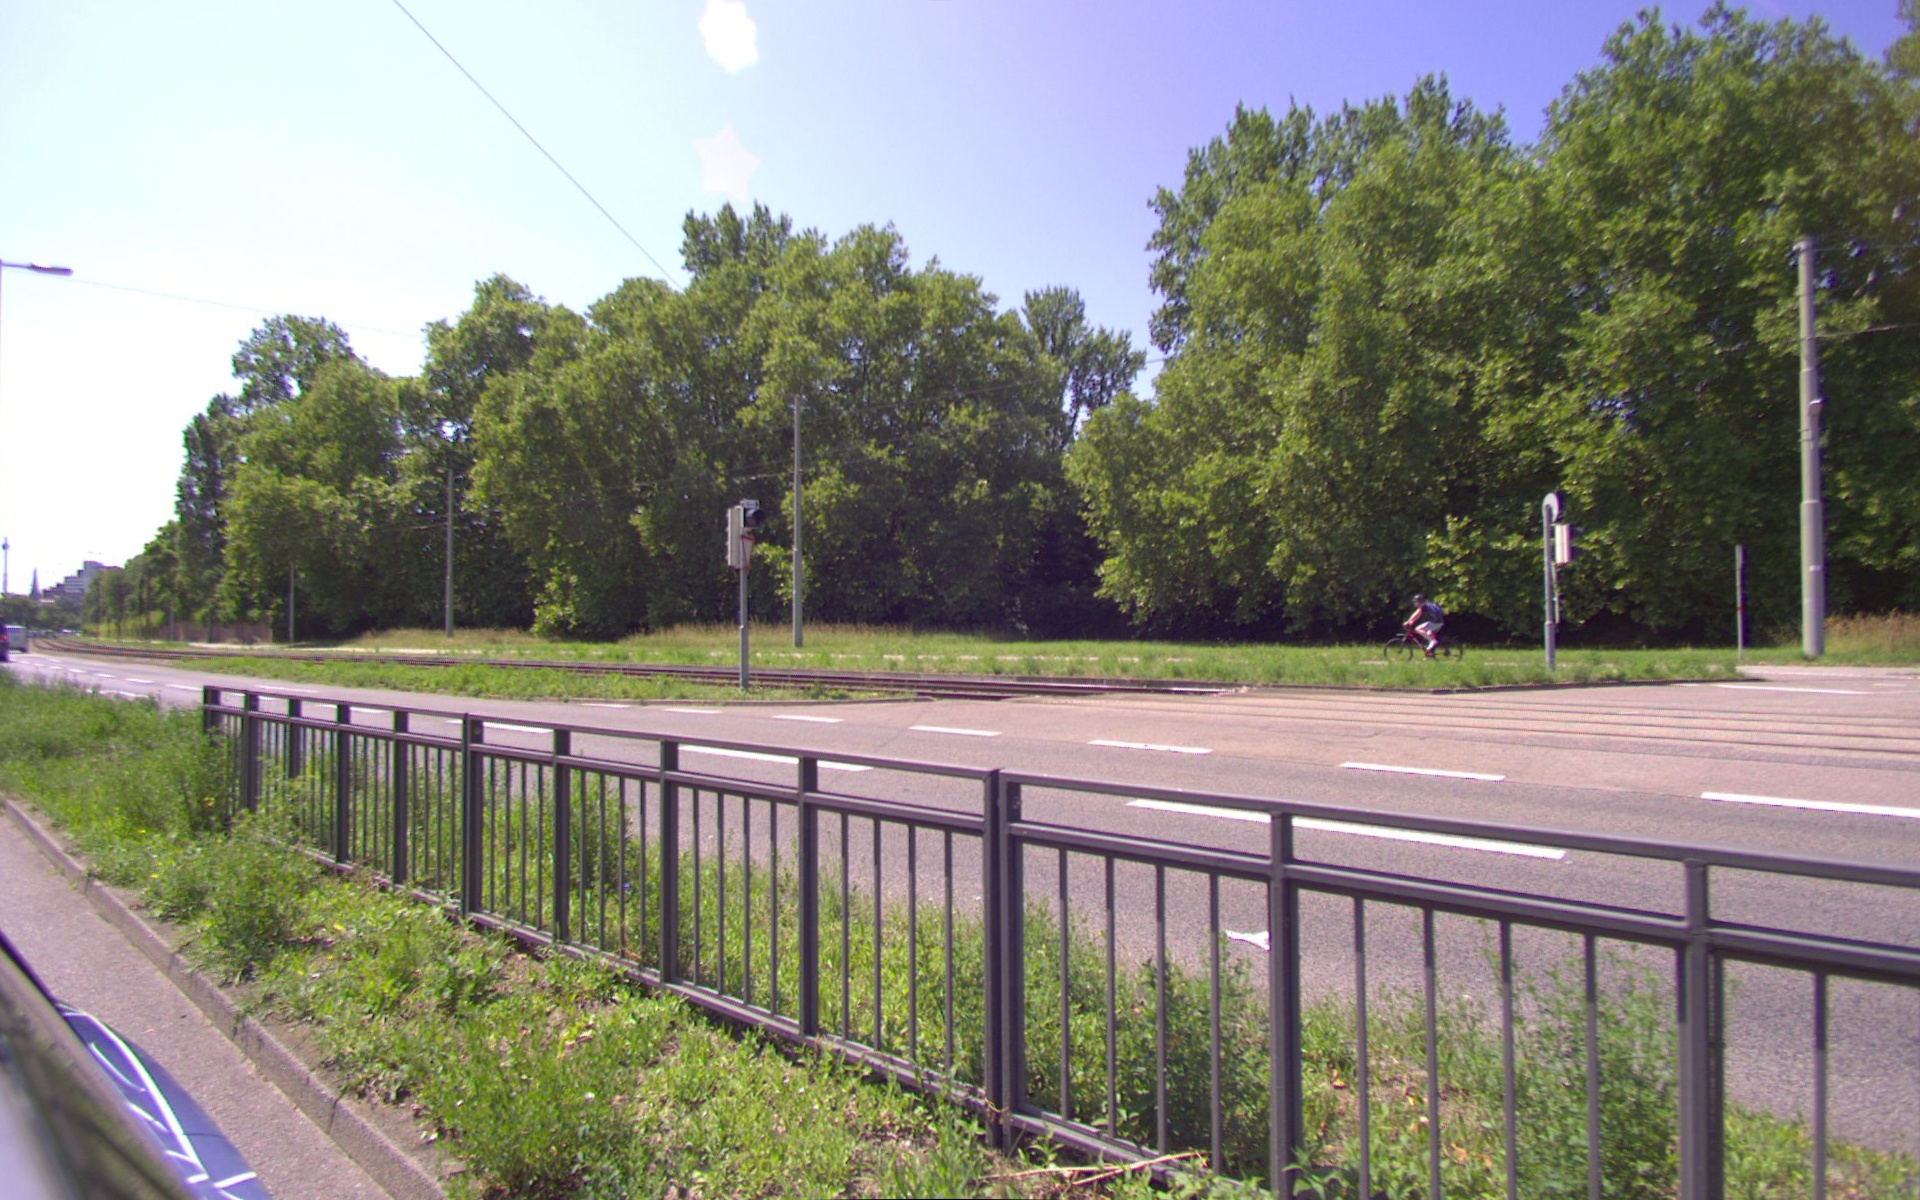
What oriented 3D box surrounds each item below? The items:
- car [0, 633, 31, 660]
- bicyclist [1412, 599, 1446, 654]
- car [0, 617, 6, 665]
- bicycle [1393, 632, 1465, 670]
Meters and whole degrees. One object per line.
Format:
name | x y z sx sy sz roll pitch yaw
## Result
car | -71.507 3.493 75.989 5.026 2.029 1.973 -2 -3 40
bicyclist | 11.681 0.667 25.188 0.678 1.346 0.504 -2 -1 34
car | -50.592 2.112 51.763 5.369 2.384 1.973 -2 -3 41
bicycle | 11.681 1.269 25.242 1.561 0.908 0.503 -2 -1 34
